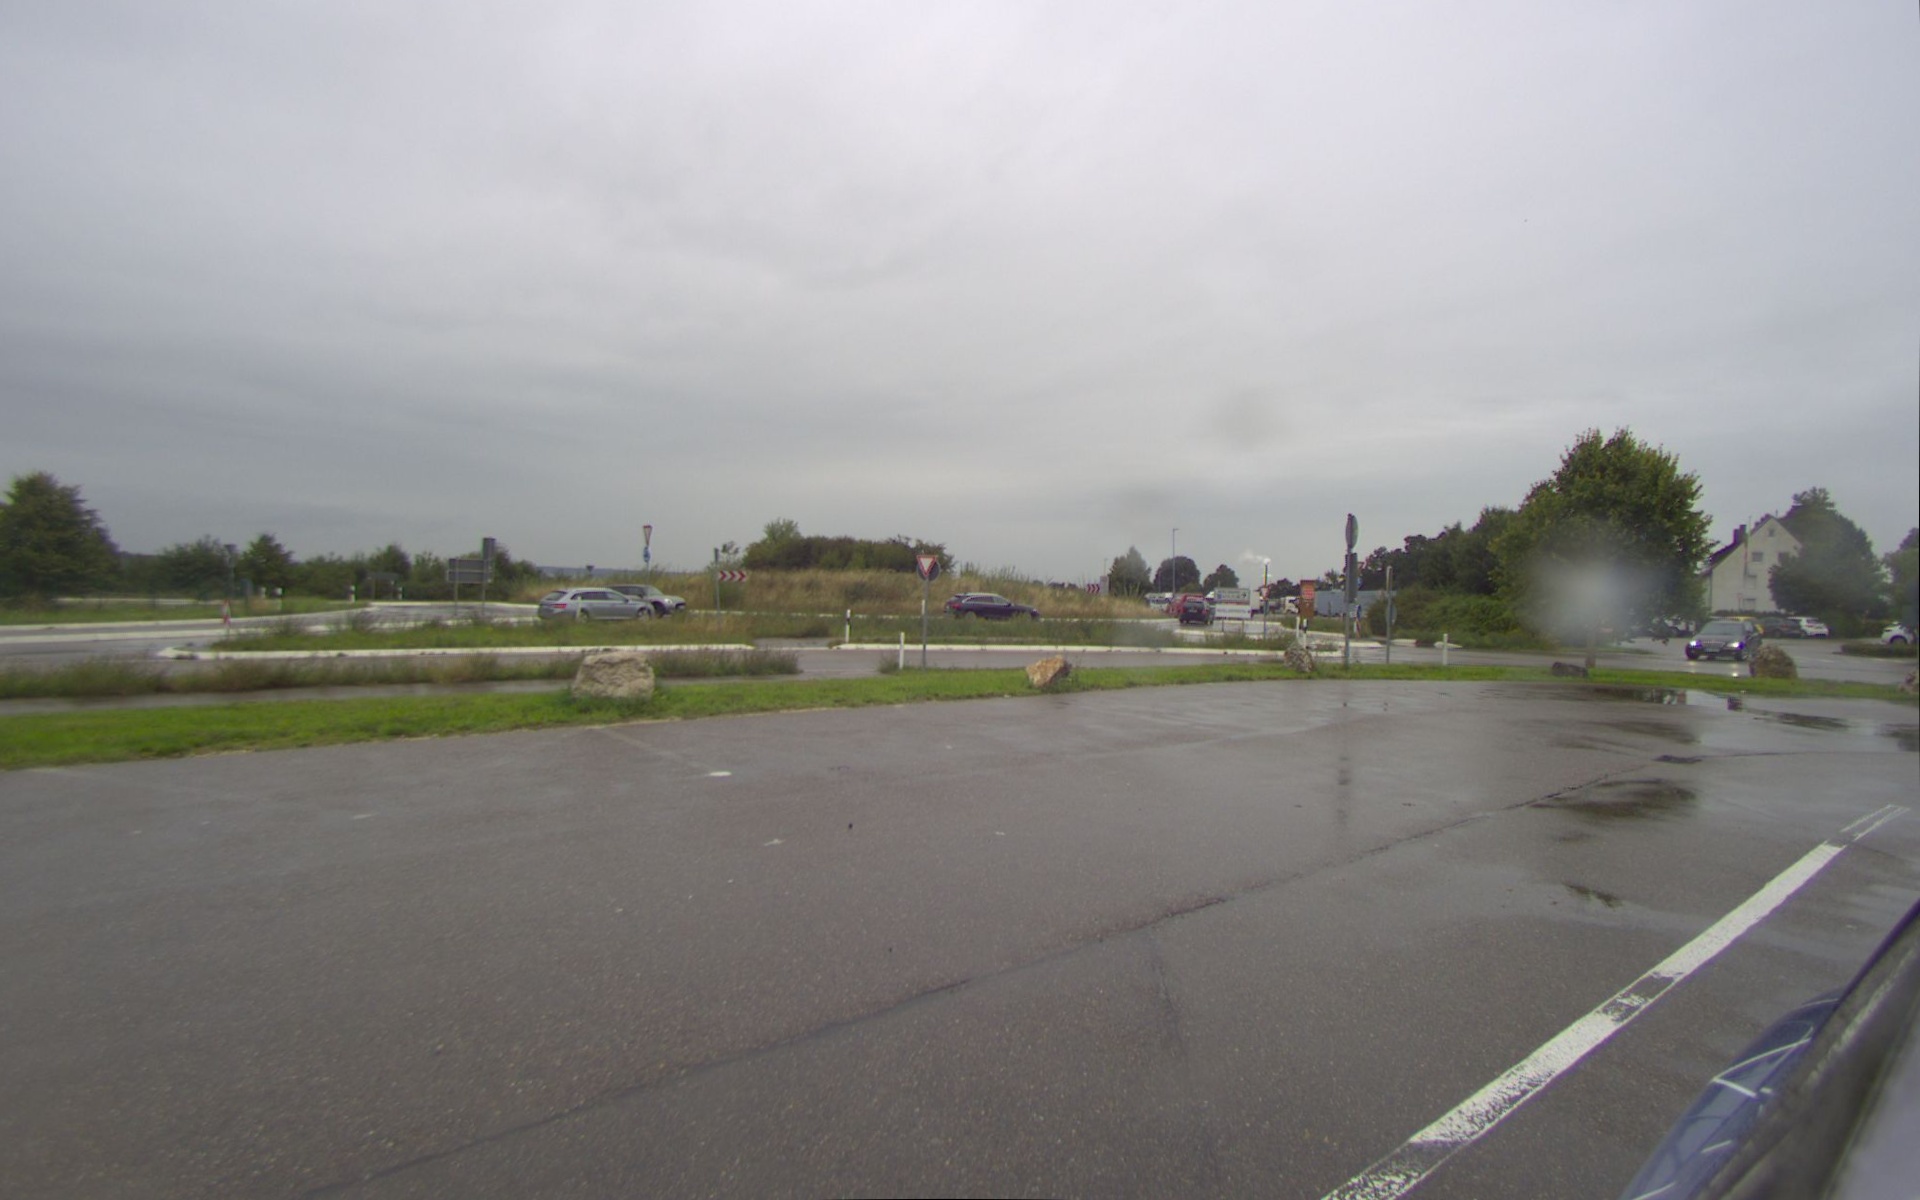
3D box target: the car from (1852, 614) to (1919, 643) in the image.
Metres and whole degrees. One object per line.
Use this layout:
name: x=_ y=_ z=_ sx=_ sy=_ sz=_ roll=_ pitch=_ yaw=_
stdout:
car: x=51.419 y=1.569 z=54.980 sx=1.819 sy=1.443 sz=4.350 roll=1 pitch=0 yaw=-44

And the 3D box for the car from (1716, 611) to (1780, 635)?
car: x=55.410 y=1.586 z=71.216 sx=1.635 sy=1.569 sz=3.724 roll=1 pitch=0 yaw=2

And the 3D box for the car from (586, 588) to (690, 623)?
car: x=-14.765 y=0.219 z=46.466 sx=4.242 sy=1.340 sz=1.752 roll=2 pitch=3 yaw=11

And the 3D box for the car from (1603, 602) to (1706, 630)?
car: x=46.055 y=1.057 z=67.222 sx=1.966 sy=1.744 sz=5.366 roll=2 pitch=-1 yaw=-42

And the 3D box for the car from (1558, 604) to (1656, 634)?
car: x=38.549 y=1.116 z=60.355 sx=1.966 sy=1.744 sz=4.599 roll=2 pitch=-1 yaw=-42

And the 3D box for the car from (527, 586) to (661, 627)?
car: x=-14.558 y=0.277 z=40.393 sx=1.994 sy=1.500 sz=4.587 roll=4 pitch=1 yaw=44

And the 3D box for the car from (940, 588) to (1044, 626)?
car: x=1.543 y=0.329 z=48.397 sx=4.572 sy=1.704 sz=1.897 roll=0 pitch=3 yaw=-23

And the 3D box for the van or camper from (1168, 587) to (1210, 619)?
van or camper: x=16.809 y=0.167 z=74.569 sx=1.962 sy=2.038 sz=4.848 roll=3 pitch=2 yaw=1

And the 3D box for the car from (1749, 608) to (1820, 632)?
car: x=57.855 y=1.373 z=71.093 sx=1.715 sy=1.590 sz=3.891 roll=1 pitch=0 yaw=-3

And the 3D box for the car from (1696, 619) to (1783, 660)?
car: x=29.834 y=1.502 z=38.679 sx=4.281 sy=1.443 sz=1.705 roll=2 pitch=-1 yaw=-39

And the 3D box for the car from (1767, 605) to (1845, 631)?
car: x=59.917 y=1.224 z=71.752 sx=1.951 sy=1.750 sz=4.003 roll=1 pitch=0 yaw=-4

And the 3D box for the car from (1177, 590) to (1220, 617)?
car: x=14.935 y=0.224 z=63.161 sx=1.977 sy=1.623 sz=4.491 roll=0 pitch=0 yaw=22
